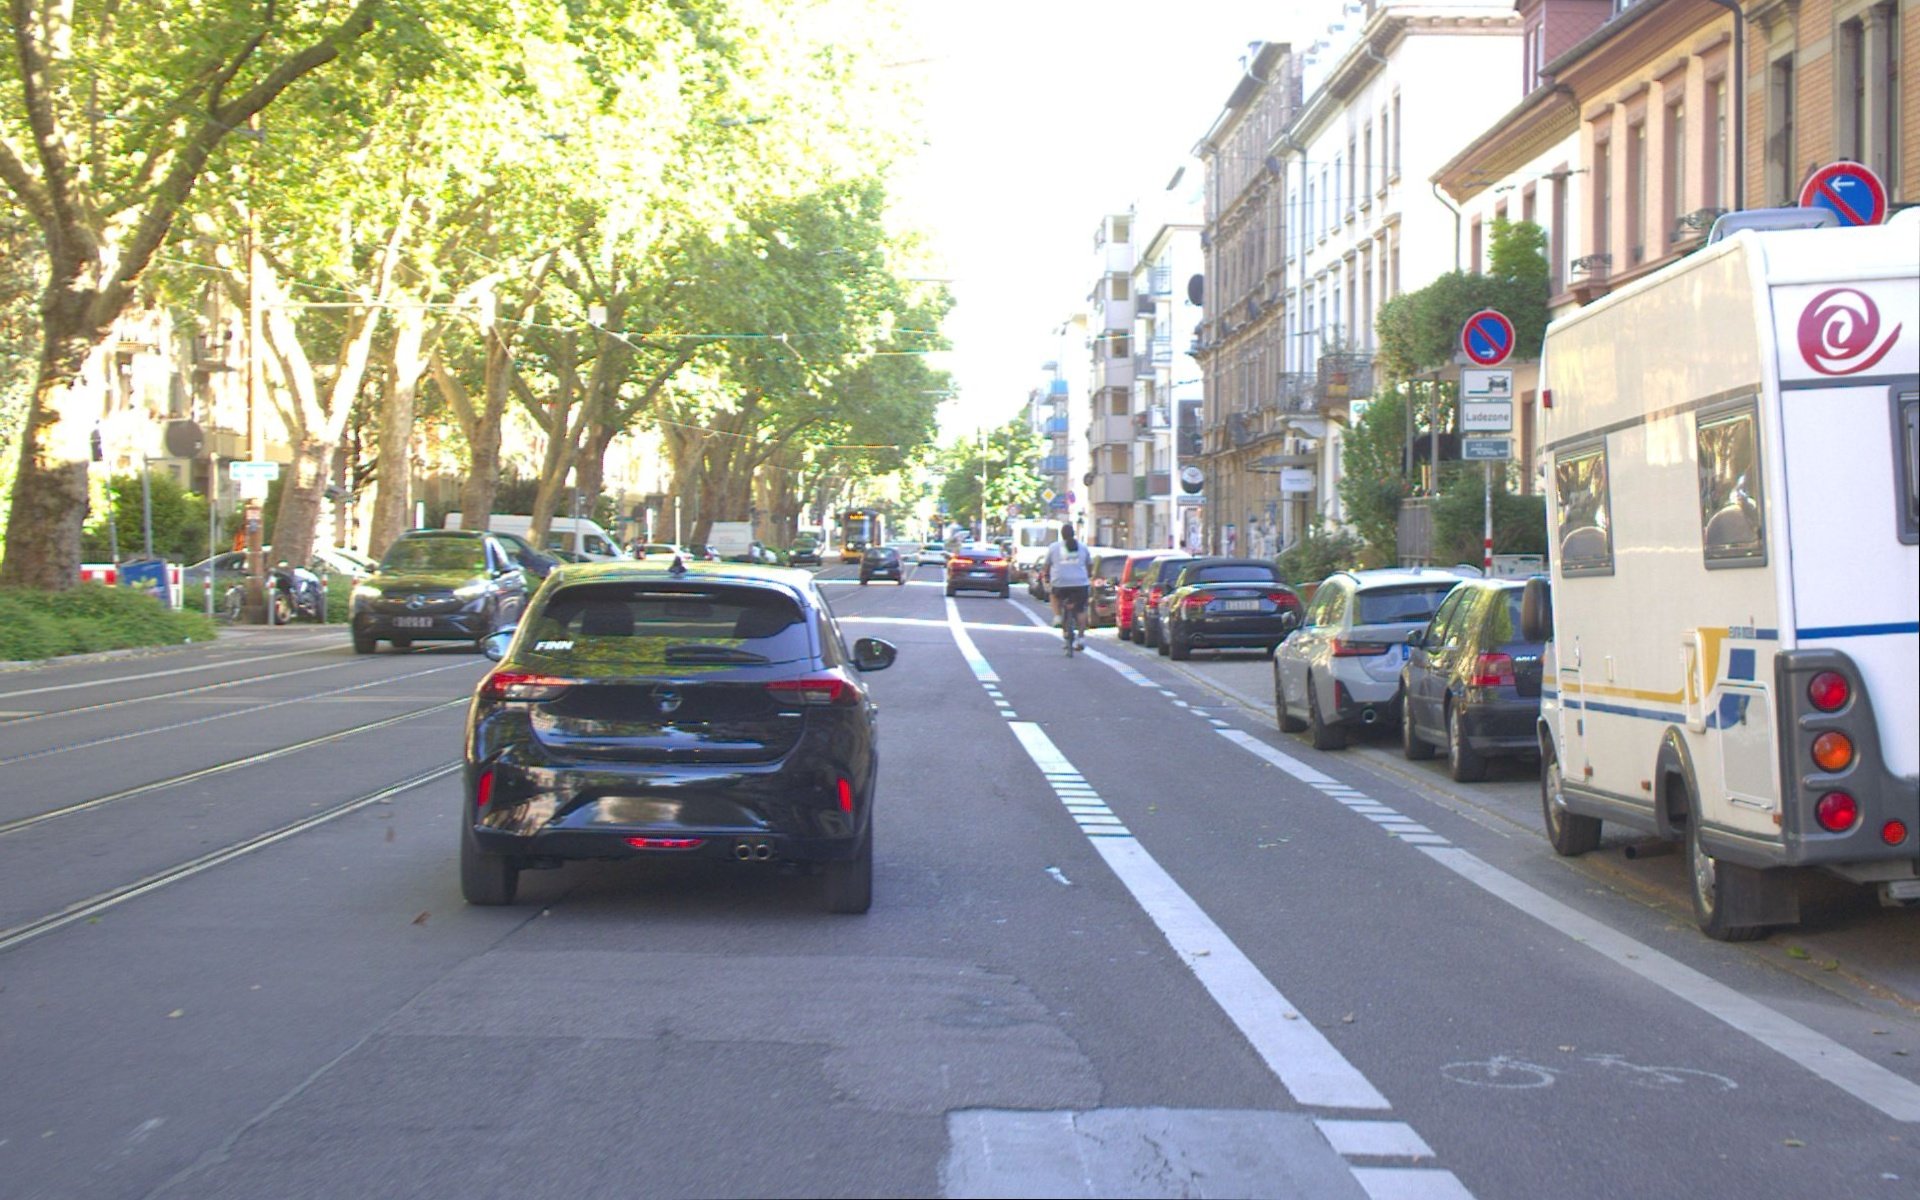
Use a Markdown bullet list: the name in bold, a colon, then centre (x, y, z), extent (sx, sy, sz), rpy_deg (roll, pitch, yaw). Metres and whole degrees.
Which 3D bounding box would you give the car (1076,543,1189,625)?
- **car**: centre (3.578, -0.353, 71.855), extent (1.880, 1.580, 3.933), rpy_deg (-2, 1, -3)

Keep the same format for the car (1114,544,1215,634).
- **car**: centre (3.567, -0.209, 60.538), extent (1.634, 1.541, 3.576), rpy_deg (0, 1, 1)

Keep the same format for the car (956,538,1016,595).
- **car**: centre (0.838, -1.055, 108.375), extent (1.810, 1.736, 3.933), rpy_deg (1, 1, 1)

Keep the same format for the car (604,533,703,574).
- **car**: centre (-12.630, -1.922, 141.718), extent (3.919, 1.493, 1.677), rpy_deg (2, 1, -3)

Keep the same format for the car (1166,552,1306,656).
- **car**: centre (3.852, 0.026, 48.566), extent (1.694, 1.388, 4.494), rpy_deg (0, 1, 1)

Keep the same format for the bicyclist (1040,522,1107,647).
- **bicyclist**: centre (1.607, -0.226, 48.738), extent (0.848, 1.734, 1.162), rpy_deg (1, 1, -1)

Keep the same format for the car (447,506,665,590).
- **car**: centre (-12.988, -1.670, 110.819), extent (6.628, 2.401, 2.458), rpy_deg (2, 1, 0)

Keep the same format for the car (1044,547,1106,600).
- **car**: centre (3.396, -0.799, 100.967), extent (1.705, 1.451, 3.697), rpy_deg (-2, 1, 3)

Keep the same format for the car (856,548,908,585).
- **car**: centre (-2.924, -1.283, 129.250), extent (1.810, 1.334, 3.933), rpy_deg (1, 1, 0)

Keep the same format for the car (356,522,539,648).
- **car**: centre (-7.009, -0.248, 47.408), extent (1.866, 1.624, 4.560), rpy_deg (1, 2, 0)

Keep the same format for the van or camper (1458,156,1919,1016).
- **van or camper**: centre (4.096, -0.142, 15.862), extent (2.477, 2.962, 7.884), rpy_deg (-2, 1, 1)

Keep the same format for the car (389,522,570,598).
- **car**: centre (-13.351, -1.111, 95.736), extent (4.675, 1.917, 1.980), rpy_deg (2, 1, 1)

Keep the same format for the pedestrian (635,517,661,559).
- **pedestrian**: centre (-11.745, -2.345, 129.485), extent (0.766, 1.561, 0.681), rpy_deg (1, 1, -27)

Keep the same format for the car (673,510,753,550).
- **car**: centre (-12.352, -3.497, 172.151), extent (3.919, 1.784, 1.677), rpy_deg (2, 1, -3)

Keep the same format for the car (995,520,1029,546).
- **car**: centre (2.861, -3.668, 188.904), extent (1.810, 1.333, 3.933), rpy_deg (-2, 1, 1)

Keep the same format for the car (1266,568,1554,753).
- **car**: centre (3.752, 0.459, 29.419), extent (1.809, 1.430, 4.665), rpy_deg (0, 1, -1)

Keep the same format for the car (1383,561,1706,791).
- **car**: centre (4.090, 0.479, 24.625), extent (1.645, 1.429, 4.029), rpy_deg (-2, 1, 1)

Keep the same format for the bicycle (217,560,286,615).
- **bicycle**: centre (-12.745, -0.231, 61.885), extent (0.541, 0.937, 2.033), rpy_deg (1, 1, 8)

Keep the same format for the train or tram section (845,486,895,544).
- **train or tram section**: centre (-5.871, -5.517, 225.463), extent (2.735, 3.669, 12.716), rpy_deg (0, 1, 1)

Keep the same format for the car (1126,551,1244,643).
- **car**: centre (3.626, -0.073, 55.868), extent (1.651, 1.451, 3.868), rpy_deg (0, 1, 0)

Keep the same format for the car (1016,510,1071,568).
- **car**: centre (3.366, -2.462, 138.547), extent (2.075, 2.211, 4.933), rpy_deg (-2, 1, 1)

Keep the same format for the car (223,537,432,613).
- **car**: centre (-12.894, -0.513, 70.225), extent (3.921, 1.448, 1.800), rpy_deg (1, 1, 0)

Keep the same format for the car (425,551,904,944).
- **car**: centre (-1.177, 0.548, 15.116), extent (1.794, 1.436, 3.531), rpy_deg (1, 2, 0)

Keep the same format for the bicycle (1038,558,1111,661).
- **bicycle**: centre (1.609, 0.113, 48.692), extent (0.860, 1.402, 2.524), rpy_deg (1, 1, -1)

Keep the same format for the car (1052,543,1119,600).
- **car**: centre (3.490, -0.806, 95.912), extent (1.567, 1.512, 3.041), rpy_deg (-2, 1, -2)

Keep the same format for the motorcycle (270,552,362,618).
- **motorcycle**: centre (-11.564, -0.284, 61.812), extent (0.884, 1.143, 2.390), rpy_deg (1, 1, 8)
